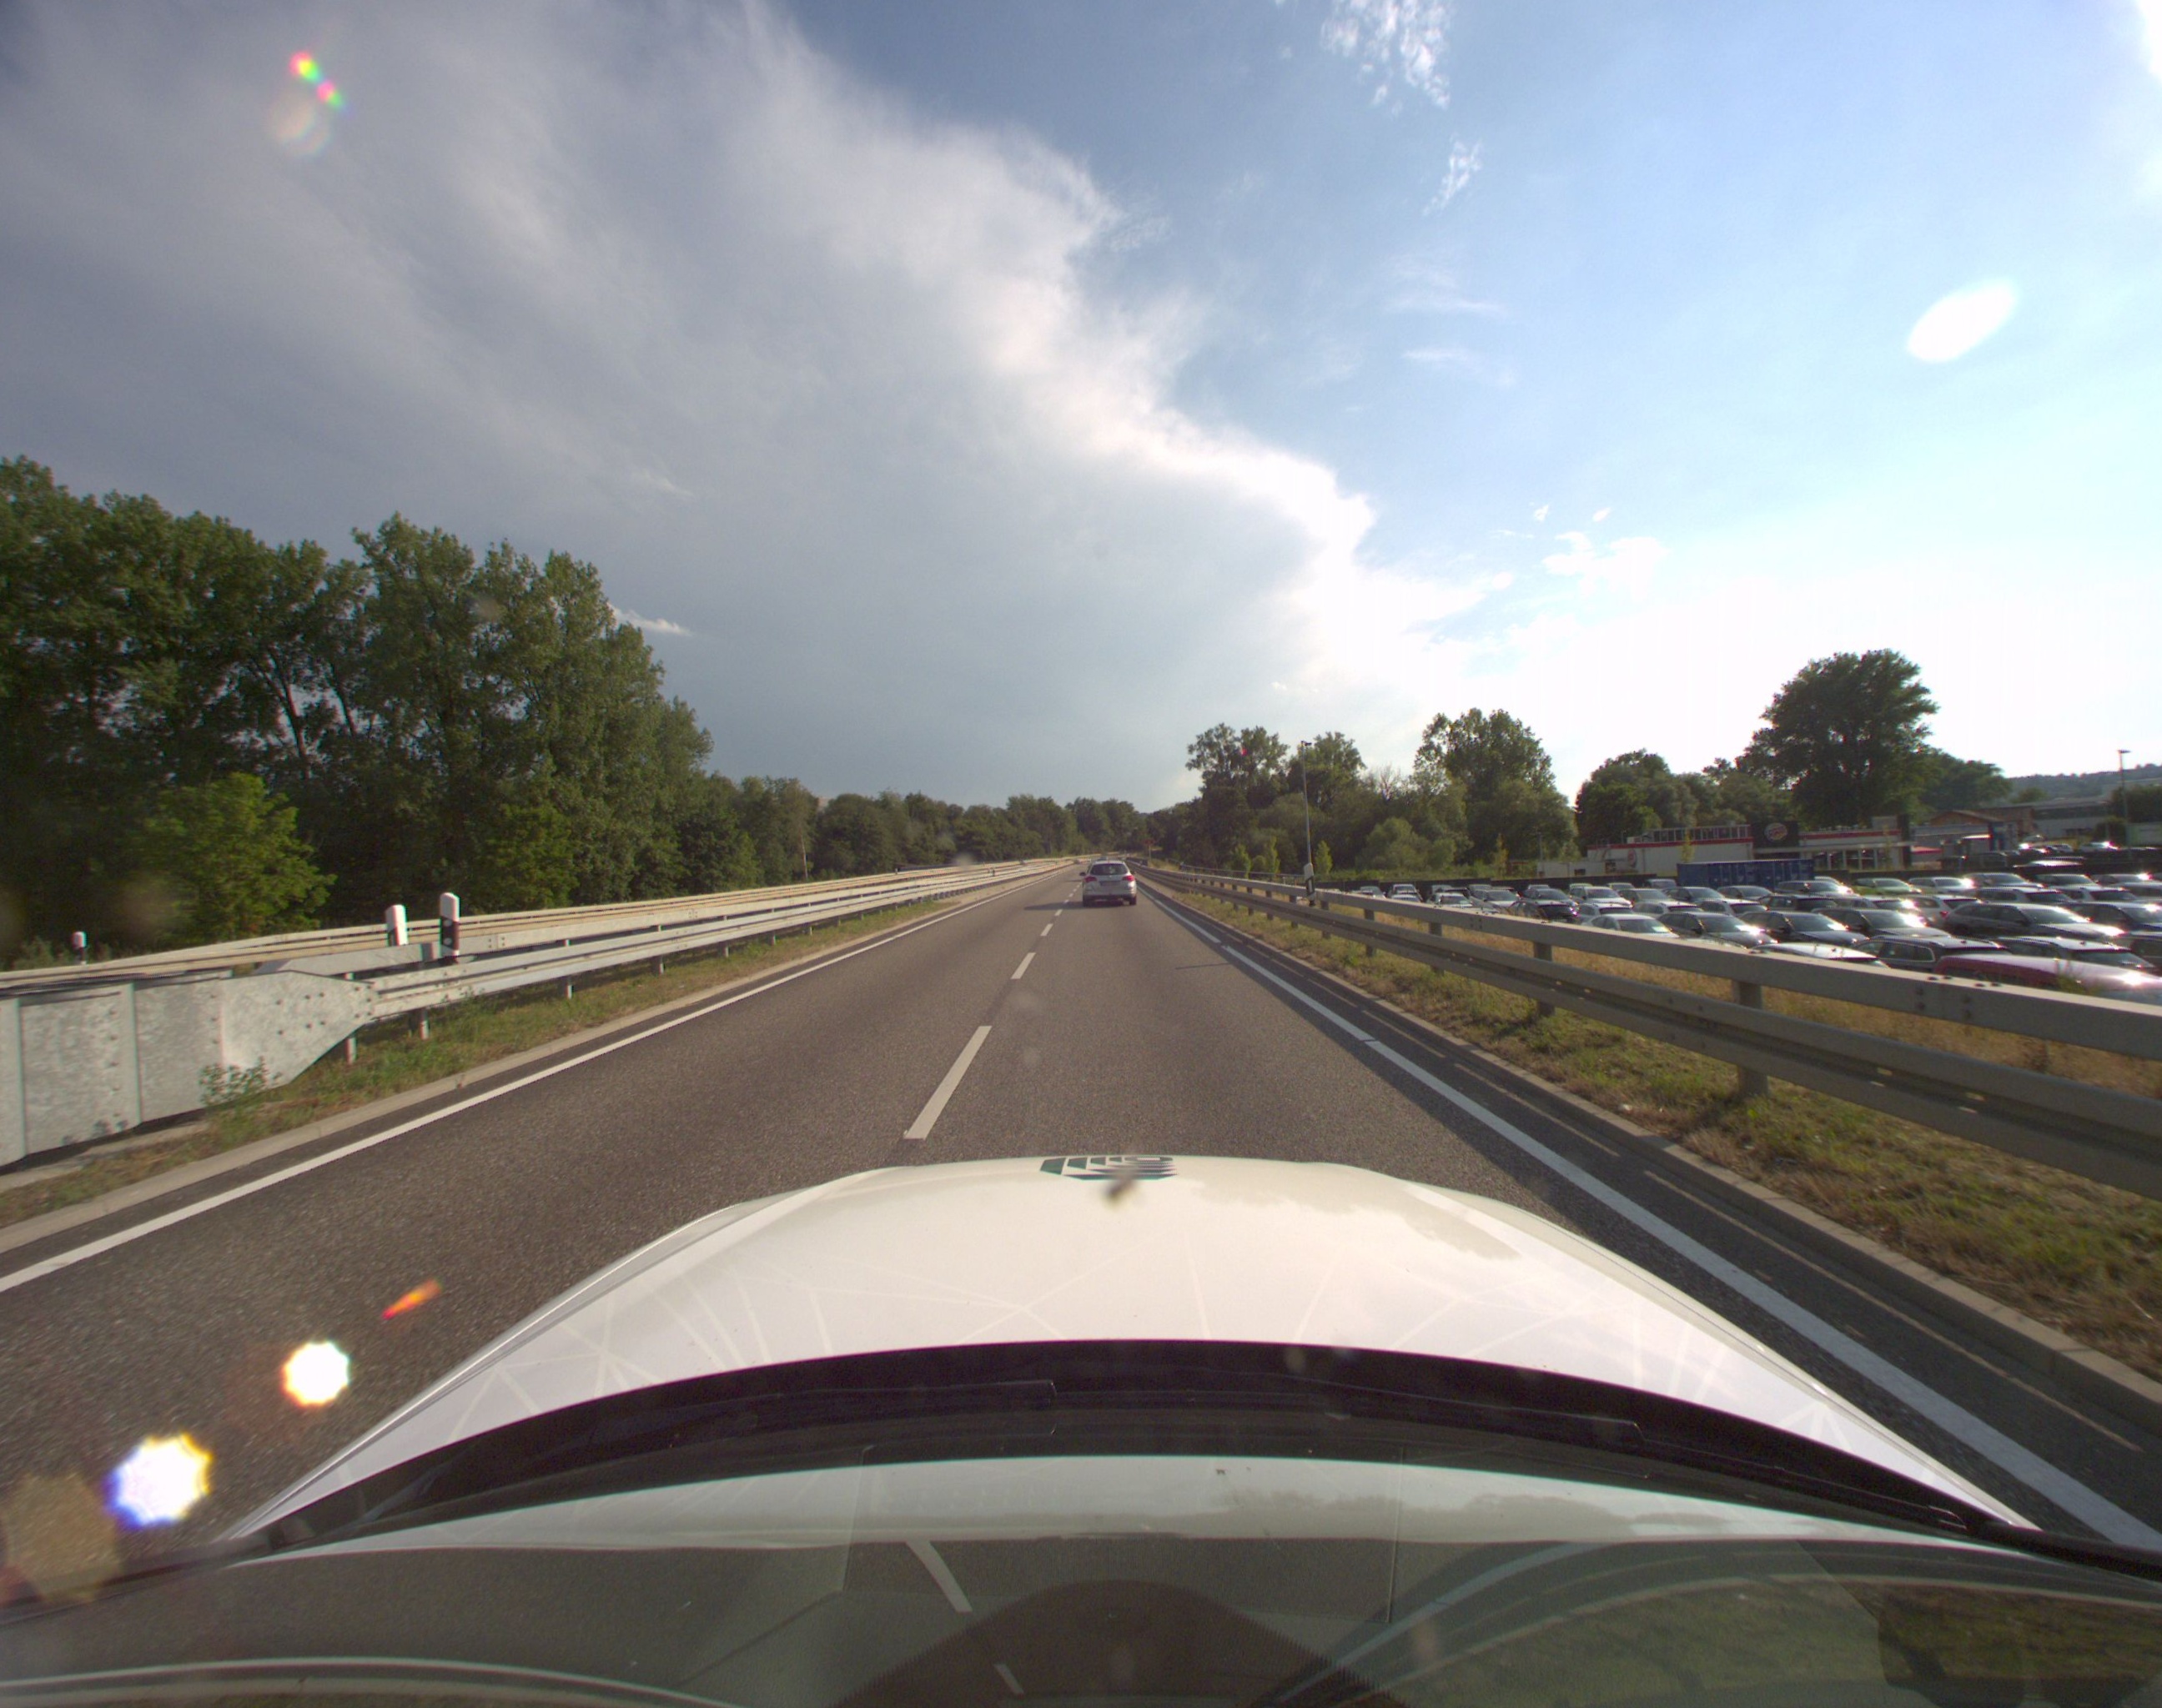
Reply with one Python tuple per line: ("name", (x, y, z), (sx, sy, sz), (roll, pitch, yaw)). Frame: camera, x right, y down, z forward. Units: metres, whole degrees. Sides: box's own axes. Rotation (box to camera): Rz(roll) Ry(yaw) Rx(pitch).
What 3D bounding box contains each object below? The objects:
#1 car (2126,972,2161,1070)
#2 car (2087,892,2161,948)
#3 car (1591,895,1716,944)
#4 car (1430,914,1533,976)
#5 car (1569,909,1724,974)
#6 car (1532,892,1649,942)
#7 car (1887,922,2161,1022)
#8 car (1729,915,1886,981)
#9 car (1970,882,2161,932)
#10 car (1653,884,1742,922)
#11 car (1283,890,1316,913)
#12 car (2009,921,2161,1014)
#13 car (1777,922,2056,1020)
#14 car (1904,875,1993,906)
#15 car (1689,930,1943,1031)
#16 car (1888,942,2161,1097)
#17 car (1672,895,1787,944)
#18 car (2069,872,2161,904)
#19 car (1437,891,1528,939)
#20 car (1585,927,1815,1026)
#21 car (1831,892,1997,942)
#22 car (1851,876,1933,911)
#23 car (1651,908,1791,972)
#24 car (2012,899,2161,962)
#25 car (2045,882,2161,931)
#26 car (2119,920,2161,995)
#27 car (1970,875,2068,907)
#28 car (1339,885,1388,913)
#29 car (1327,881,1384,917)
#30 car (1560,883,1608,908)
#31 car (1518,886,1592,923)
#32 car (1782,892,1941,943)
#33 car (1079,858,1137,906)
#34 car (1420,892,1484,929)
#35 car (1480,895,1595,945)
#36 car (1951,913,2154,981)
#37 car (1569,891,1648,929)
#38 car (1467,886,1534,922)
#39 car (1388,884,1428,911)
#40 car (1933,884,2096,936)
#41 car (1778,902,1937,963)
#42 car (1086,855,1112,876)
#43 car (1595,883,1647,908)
("car", (17.565, 2.611, 11.149), (1.660, 1.472, 4.008), (-1, -1, 8))
("car", (34.728, 2.100, 25.095), (1.870, 1.636, 4.738), (-1, -1, 6))
("car", (22.943, 2.561, 32.902), (1.872, 1.636, 4.733), (-1, -1, 3))
("car", (13.248, 2.975, 27.204), (1.606, 1.679, 3.837), (-1, -1, 1))
("car", (18.169, 2.748, 26.506), (1.872, 1.636, 4.731), (-1, -1, 2))
("car", (20.527, 2.492, 33.081), (1.829, 1.716, 4.666), (-1, -1, 0))
("car", (21.407, 2.532, 18.497), (1.870, 1.636, 4.738), (-1, -1, 7))
("car", (22.985, 2.930, 25.998), (1.765, 1.684, 4.008), (-1, -1, 8))
("car", (37.414, 1.964, 31.177), (1.870, 1.636, 4.737), (-1, -1, 6))
("car", (31.089, 2.436, 41.233), (1.766, 1.684, 4.006), (-1, -1, 6))
("car", (15.645, 3.362, 58.541), (1.697, 1.464, 4.007), (-1, -1, 6))
("car", (23.333, 2.459, 17.814), (1.765, 1.684, 4.008), (-1, -1, 8))
("car", (19.085, 2.589, 19.007), (1.871, 1.636, 4.735), (-1, -1, 5))
("car", (48.228, 2.001, 45.388), (1.733, 1.577, 3.797), (-2, -1, 18))
("car", (16.622, 2.784, 18.842), (1.871, 1.636, 4.736), (-1, -1, 5))
("car", (15.355, 2.389, 12.344), (1.870, 1.626, 4.738), (-1, -1, 6))
("car", (25.667, 2.554, 32.418), (1.765, 1.684, 4.008), (-1, -1, 8))
("car", (55.142, 1.782, 43.166), (1.733, 1.577, 3.797), (-2, -1, 18))
("car", (16.039, 2.395, 32.775), (1.768, 1.684, 4.001), (-1, -1, 2))
("car", (14.026, 2.699, 18.899), (1.872, 1.626, 4.732), (-1, -1, 3))
("car", (32.424, 2.396, 31.939), (1.871, 1.636, 4.734), (-1, -1, 4))
("car", (46.090, 2.226, 46.378), (1.733, 1.794, 3.797), (-2, -1, 18))
("car", (20.621, 2.721, 26.462), (1.765, 1.684, 4.008), (-1, -1, 8))
("car", (32.384, 2.323, 25.283), (1.870, 1.636, 4.738), (-1, -1, 6))
("car", (39.689, 1.916, 30.483), (1.870, 1.636, 4.737), (-1, -1, 6))
("car", (25.834, 2.404, 17.662), (1.765, 1.684, 4.008), (-1, -1, 8))
("car", (50.995, 1.986, 44.381), (1.733, 1.577, 3.797), (-2, -1, 18))
("car", (16.756, 2.626, 48.517), (1.698, 1.464, 4.003), (-1, -1, 3))
("car", (14.335, 2.341, 42.709), (1.768, 1.684, 4.002), (-1, -1, 2))
("car", (32.644, 2.660, 52.962), (1.692, 1.464, 4.017), (-1, -1, 17))
("car", (24.165, 2.527, 41.671), (1.766, 1.684, 4.006), (-1, -1, 6))
("car", (30.063, 2.405, 31.607), (1.871, 1.636, 4.736), (-1, -1, 5))
("car", (0.905, 0.917, 27.917), (1.803, 1.486, 4.000), (-1, -1, 1))
("car", (19.165, 2.890, 42.250), (1.766, 1.684, 4.005), (-1, -1, 5))
("car", (18.365, 2.606, 33.062), (1.992, 1.651, 4.729), (-1, -1, 0))
("car", (29.832, 2.814, 25.227), (1.765, 1.684, 4.008), (-1, -1, 8))
("car", (26.868, 2.817, 41.654), (1.766, 1.684, 4.006), (-1, -1, 6))
("car", (21.680, 2.548, 42.258), (1.766, 1.684, 4.006), (-1, -1, 6))
("car", (22.574, 2.983, 56.310), (1.939, 1.642, 4.259), (-1, -1, 14))
("car", (34.979, 2.047, 30.696), (1.766, 1.684, 4.006), (-1, -1, 6))
("car", (25.472, 2.525, 26.920), (1.765, 1.684, 4.008), (-1, -1, 8))
("car", (1.345, 0.871, 60.932), (1.803, 1.486, 4.000), (-1, -1, 1))
("car", (34.643, 2.628, 52.317), (1.692, 1.464, 4.017), (-1, -1, 17))
